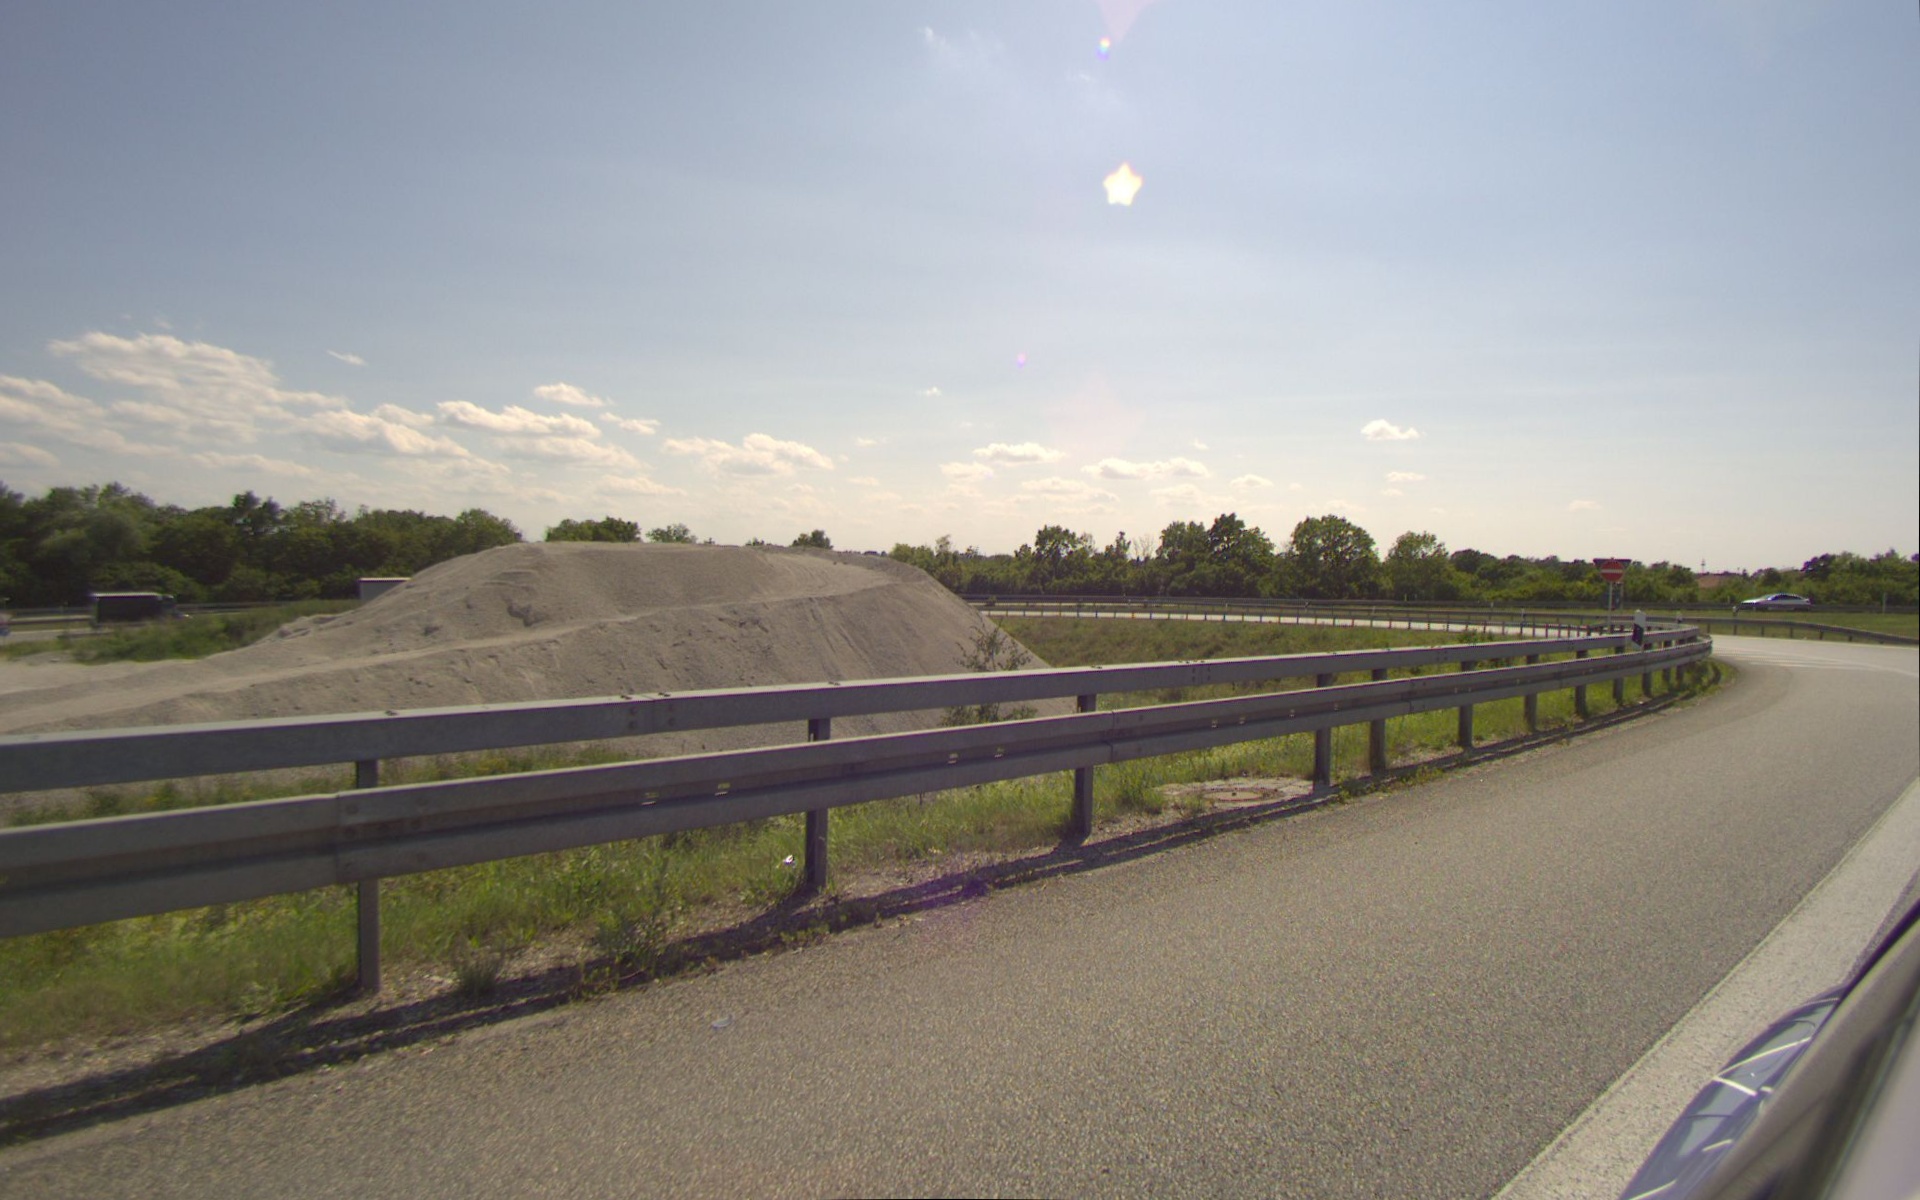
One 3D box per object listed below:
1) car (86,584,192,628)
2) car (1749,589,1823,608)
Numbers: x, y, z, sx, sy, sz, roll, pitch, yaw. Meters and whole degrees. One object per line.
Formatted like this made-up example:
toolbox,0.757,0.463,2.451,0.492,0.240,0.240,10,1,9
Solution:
car,-72.274,0.513,89.192,1.990,3.676,6.978,-3,-1,39
car,67.911,-0.105,83.301,4.238,1.527,1.990,0,0,16
